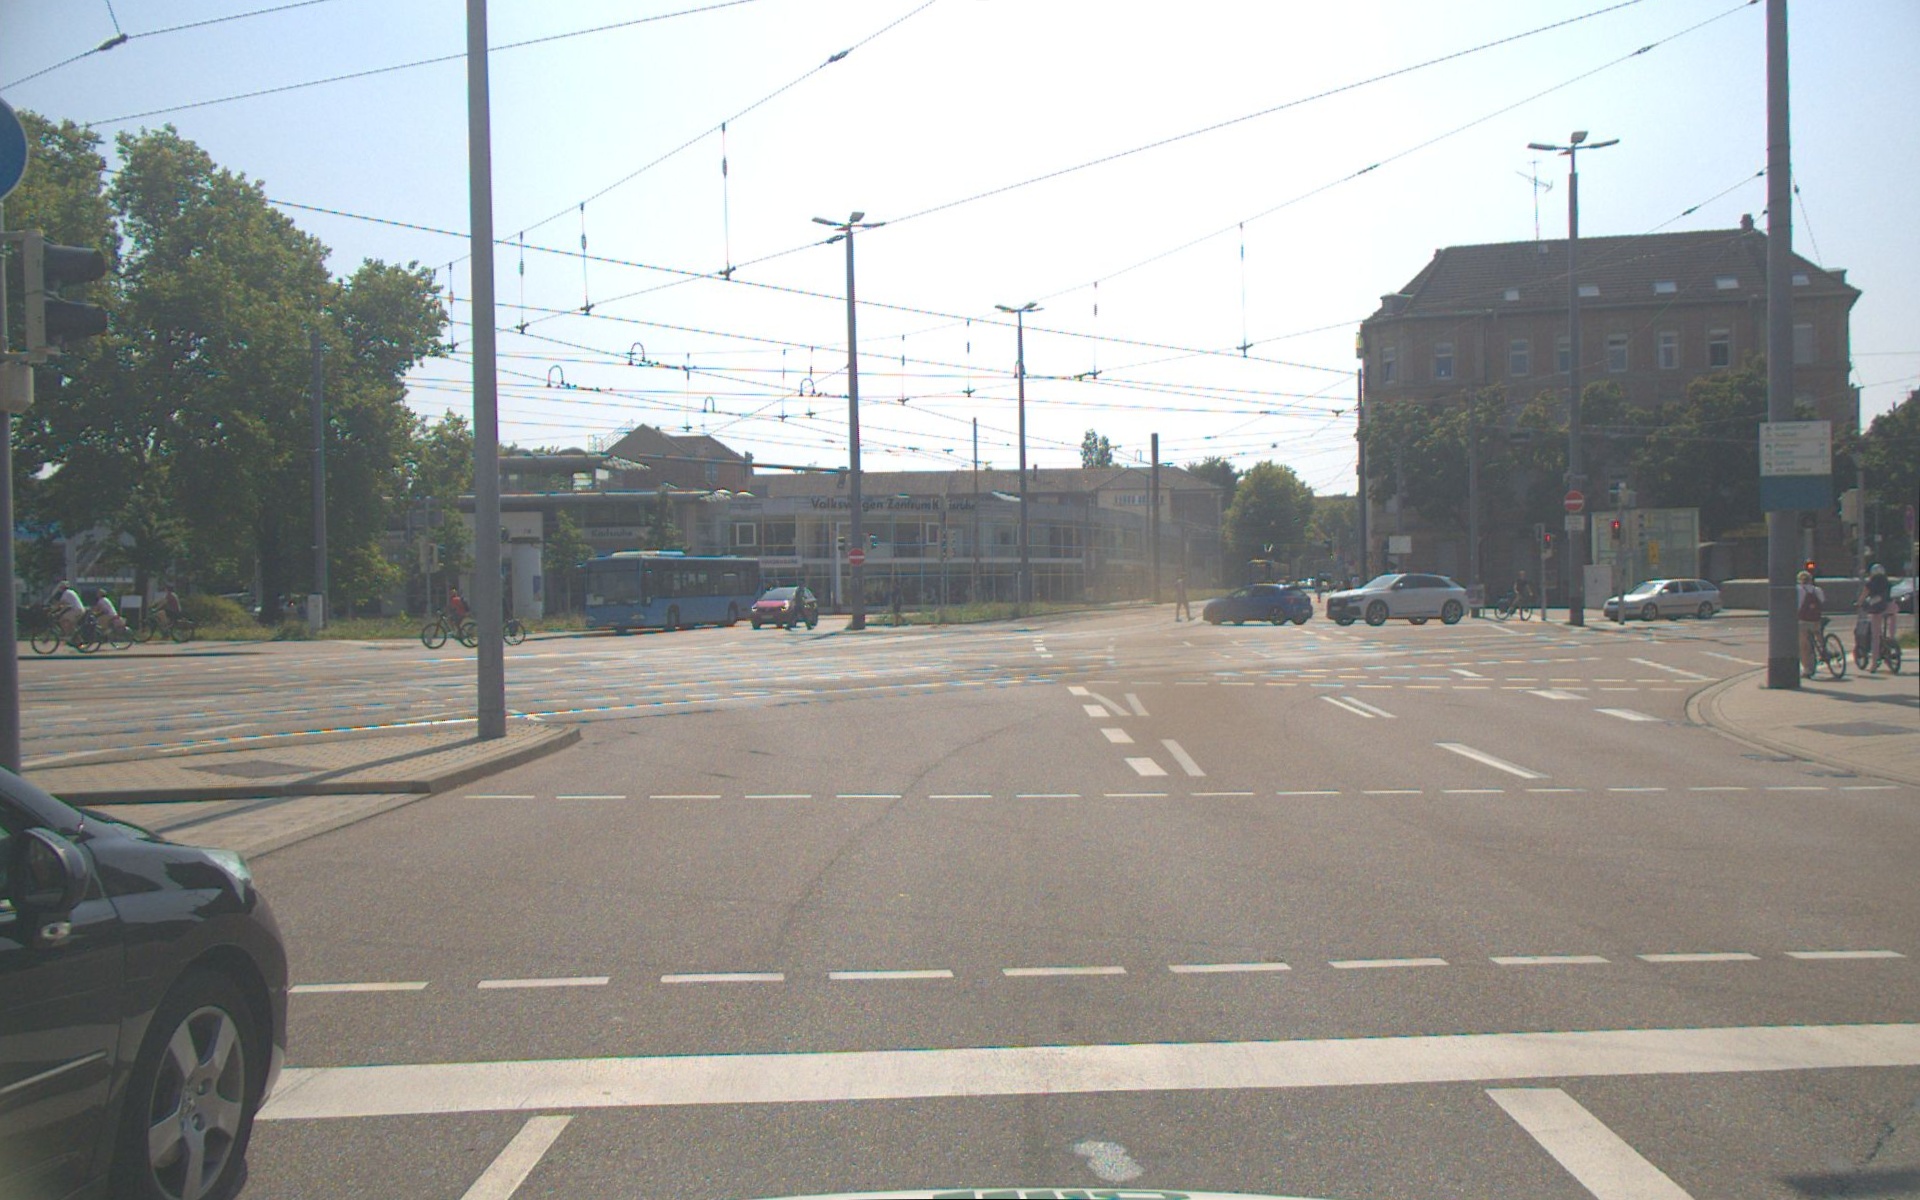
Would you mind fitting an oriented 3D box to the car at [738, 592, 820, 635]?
[{"bbox_3d":[-7.034,0.503,64.606,1.713,1.579,4.002,-1,0,17],"label":"car"}]

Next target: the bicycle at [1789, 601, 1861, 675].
[{"bbox_3d":[13.205,0.567,25.281,0.525,1.073,1.655,-1,0,11],"label":"bicycle"}]

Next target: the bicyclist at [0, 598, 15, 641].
[{"bbox_3d":[-29.212,0.599,50.417,0.535,1.316,0.557,-1,0,-12],"label":"bicyclist"}]

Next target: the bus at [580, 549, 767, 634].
[{"bbox_3d":[-11.413,-0.375,67.653,2.508,3.136,12.032,-1,0,16],"label":"bus"}]

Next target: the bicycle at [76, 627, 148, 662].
[{"bbox_3d":[-24.850,1.294,48.484,1.778,0.958,0.567,-1,0,-4],"label":"bicycle"}]

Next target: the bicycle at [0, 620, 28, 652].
[{"bbox_3d":[-29.595,1.115,50.394,1.997,0.958,0.466,-1,0,-14],"label":"bicycle"}]

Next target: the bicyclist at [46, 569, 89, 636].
[{"bbox_3d":[-24.924,0.064,46.194,0.908,1.839,0.496,-1,0,-13],"label":"bicyclist"}]

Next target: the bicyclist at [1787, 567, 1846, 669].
[{"bbox_3d":[13.206,0.276,25.521,0.614,1.544,0.712,-1,0,11],"label":"bicyclist"}]

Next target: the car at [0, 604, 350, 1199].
[{"bbox_3d":[-2.586,0.728,2.539,1.729,1.412,3.782,1,0,3],"label":"car"}]

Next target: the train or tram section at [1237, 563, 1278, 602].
[{"bbox_3d":[28.867,-1.696,160.115,2.534,3.578,10.904,-1,0,18],"label":"train or tram section"}]

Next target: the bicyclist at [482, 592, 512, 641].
[{"bbox_3d":[-14.469,0.517,51.678,0.858,1.501,0.543,-1,0,-19],"label":"bicyclist"}]

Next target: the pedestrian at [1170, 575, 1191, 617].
[{"bbox_3d":[8.628,-0.147,64.690,0.687,1.631,0.572,-1,0,-9],"label":"pedestrian"}]

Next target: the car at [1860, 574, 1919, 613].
[{"bbox_3d":[37.487,-0.294,64.277,4.684,1.440,1.765,-1,0,-21],"label":"car"}]

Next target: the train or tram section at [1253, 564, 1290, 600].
[{"bbox_3d":[32.014,-1.818,169.959,2.534,3.578,9.664,-1,0,18],"label":"train or tram section"}]

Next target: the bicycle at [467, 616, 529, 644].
[{"bbox_3d":[-14.440,0.922,51.702,1.828,0.816,0.604,-1,0,-20],"label":"bicycle"}]

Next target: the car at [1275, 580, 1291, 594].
[{"bbox_3d":[44.291,-1.724,226.587,1.781,1.841,4.002,1,0,16],"label":"car"}]

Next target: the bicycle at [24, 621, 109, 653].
[{"bbox_3d":[-24.953,1.026,46.204,2.013,0.816,0.478,-1,0,-14],"label":"bicycle"}]

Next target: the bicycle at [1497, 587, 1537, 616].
[{"bbox_3d":[20.916,0.045,62.156,0.462,1.073,1.643,-1,0,-21],"label":"bicycle"}]

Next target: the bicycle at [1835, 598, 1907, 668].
[{"bbox_3d":[14.748,0.516,26.804,0.525,1.073,1.655,-1,0,11],"label":"bicycle"}]

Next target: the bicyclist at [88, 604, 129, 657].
[{"bbox_3d":[-24.946,0.889,48.490,0.892,1.534,0.558,-1,0,-4],"label":"bicyclist"}]

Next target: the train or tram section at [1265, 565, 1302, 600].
[{"bbox_3d":[35.416,-1.903,180.808,2.534,3.578,12.979,-1,0,18],"label":"train or tram section"}]

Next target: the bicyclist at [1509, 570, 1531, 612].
[{"bbox_3d":[20.990,-0.321,61.983,0.604,1.555,0.517,-1,0,-25],"label":"bicyclist"}]

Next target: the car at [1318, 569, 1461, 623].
[{"bbox_3d":[13.931,-0.143,53.653,4.260,1.646,1.743,-1,0,-21],"label":"car"}]

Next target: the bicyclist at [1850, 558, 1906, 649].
[{"bbox_3d":[14.658,0.055,26.432,0.519,1.417,0.894,-1,0,11],"label":"bicyclist"}]

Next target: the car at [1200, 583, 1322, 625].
[{"bbox_3d":[10.626,0.148,58.491,3.914,1.418,1.592,-1,0,32],"label":"car"}]

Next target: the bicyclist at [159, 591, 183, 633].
[{"bbox_3d":[-24.945,0.386,52.279,0.535,1.316,0.557,-1,0,-12],"label":"bicyclist"}]

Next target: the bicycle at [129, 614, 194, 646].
[{"bbox_3d":[-25.238,0.952,52.286,1.783,0.958,0.414,-1,0,-14],"label":"bicycle"}]

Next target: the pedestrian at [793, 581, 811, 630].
[{"bbox_3d":[-5.608,0.196,58.651,0.544,1.713,0.451,-1,0,-19],"label":"pedestrian"}]

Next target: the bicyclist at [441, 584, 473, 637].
[{"bbox_3d":[-14.691,0.298,48.325,0.856,1.509,0.496,-1,0,-13],"label":"bicyclist"}]

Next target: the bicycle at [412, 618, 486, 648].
[{"bbox_3d":[-14.901,0.965,48.291,2.013,0.816,0.478,-1,0,-14],"label":"bicycle"}]

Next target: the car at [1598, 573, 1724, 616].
[{"bbox_3d":[24.832,-0.204,58.600,4.118,1.440,1.763,-1,0,-23],"label":"car"}]
